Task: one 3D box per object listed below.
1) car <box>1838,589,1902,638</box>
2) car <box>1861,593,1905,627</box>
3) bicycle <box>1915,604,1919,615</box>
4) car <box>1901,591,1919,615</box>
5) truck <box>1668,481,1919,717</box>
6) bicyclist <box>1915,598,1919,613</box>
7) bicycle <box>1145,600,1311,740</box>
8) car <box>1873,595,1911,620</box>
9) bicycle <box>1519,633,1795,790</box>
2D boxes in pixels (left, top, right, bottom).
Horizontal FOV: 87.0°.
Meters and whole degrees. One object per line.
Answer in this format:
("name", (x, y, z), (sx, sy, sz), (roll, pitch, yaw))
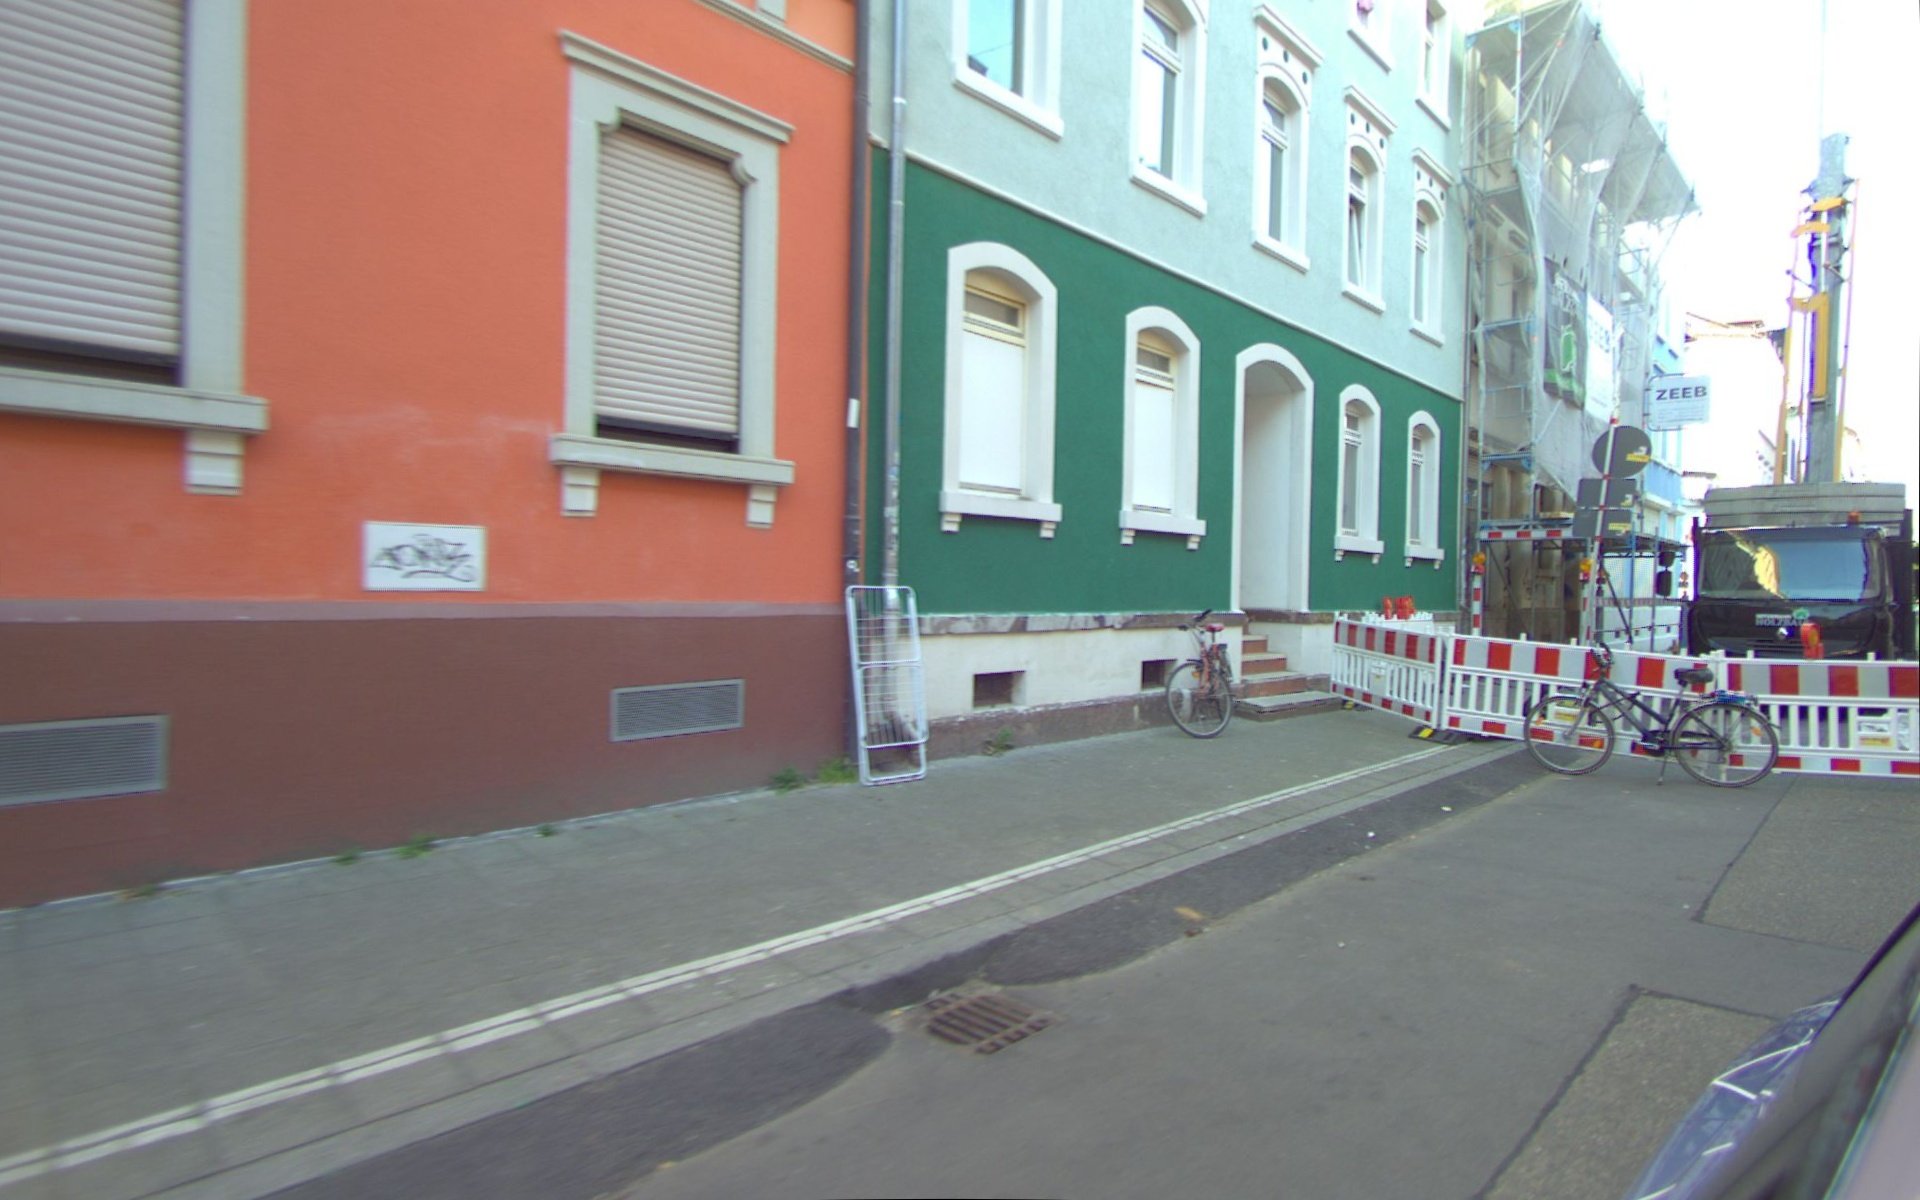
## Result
("car", (37.035, 0.492, 41.165), (1.749, 1.839, 4.301), (4, 3, 44))
("car", (52.961, 0.550, 58.048), (1.710, 1.752, 4.338), (4, 3, 44))
("bicycle", (108.189, 1.101, 114.041), (0.726, 1.195, 2.451), (0, 0, 42))
("car", (119.307, 0.350, 126.747), (1.991, 2.828, 4.497), (0, 0, 41))
("truck", (13.306, -0.050, 15.679), (2.662, 2.849, 7.274), (0, 0, 45))
("bicyclist", (108.204, 0.658, 114.067), (0.713, 1.680, 0.864), (0, 0, 42))
("bicycle", (2.590, 0.613, 9.656), (0.655, 1.142, 1.805), (7, 5, 44))
("car", (57.908, 0.423, 62.869), (1.609, 1.413, 3.820), (4, 3, 44))
("bicycle", (5.779, 0.866, 8.474), (1.845, 1.124, 0.635), (0, 0, 39))
